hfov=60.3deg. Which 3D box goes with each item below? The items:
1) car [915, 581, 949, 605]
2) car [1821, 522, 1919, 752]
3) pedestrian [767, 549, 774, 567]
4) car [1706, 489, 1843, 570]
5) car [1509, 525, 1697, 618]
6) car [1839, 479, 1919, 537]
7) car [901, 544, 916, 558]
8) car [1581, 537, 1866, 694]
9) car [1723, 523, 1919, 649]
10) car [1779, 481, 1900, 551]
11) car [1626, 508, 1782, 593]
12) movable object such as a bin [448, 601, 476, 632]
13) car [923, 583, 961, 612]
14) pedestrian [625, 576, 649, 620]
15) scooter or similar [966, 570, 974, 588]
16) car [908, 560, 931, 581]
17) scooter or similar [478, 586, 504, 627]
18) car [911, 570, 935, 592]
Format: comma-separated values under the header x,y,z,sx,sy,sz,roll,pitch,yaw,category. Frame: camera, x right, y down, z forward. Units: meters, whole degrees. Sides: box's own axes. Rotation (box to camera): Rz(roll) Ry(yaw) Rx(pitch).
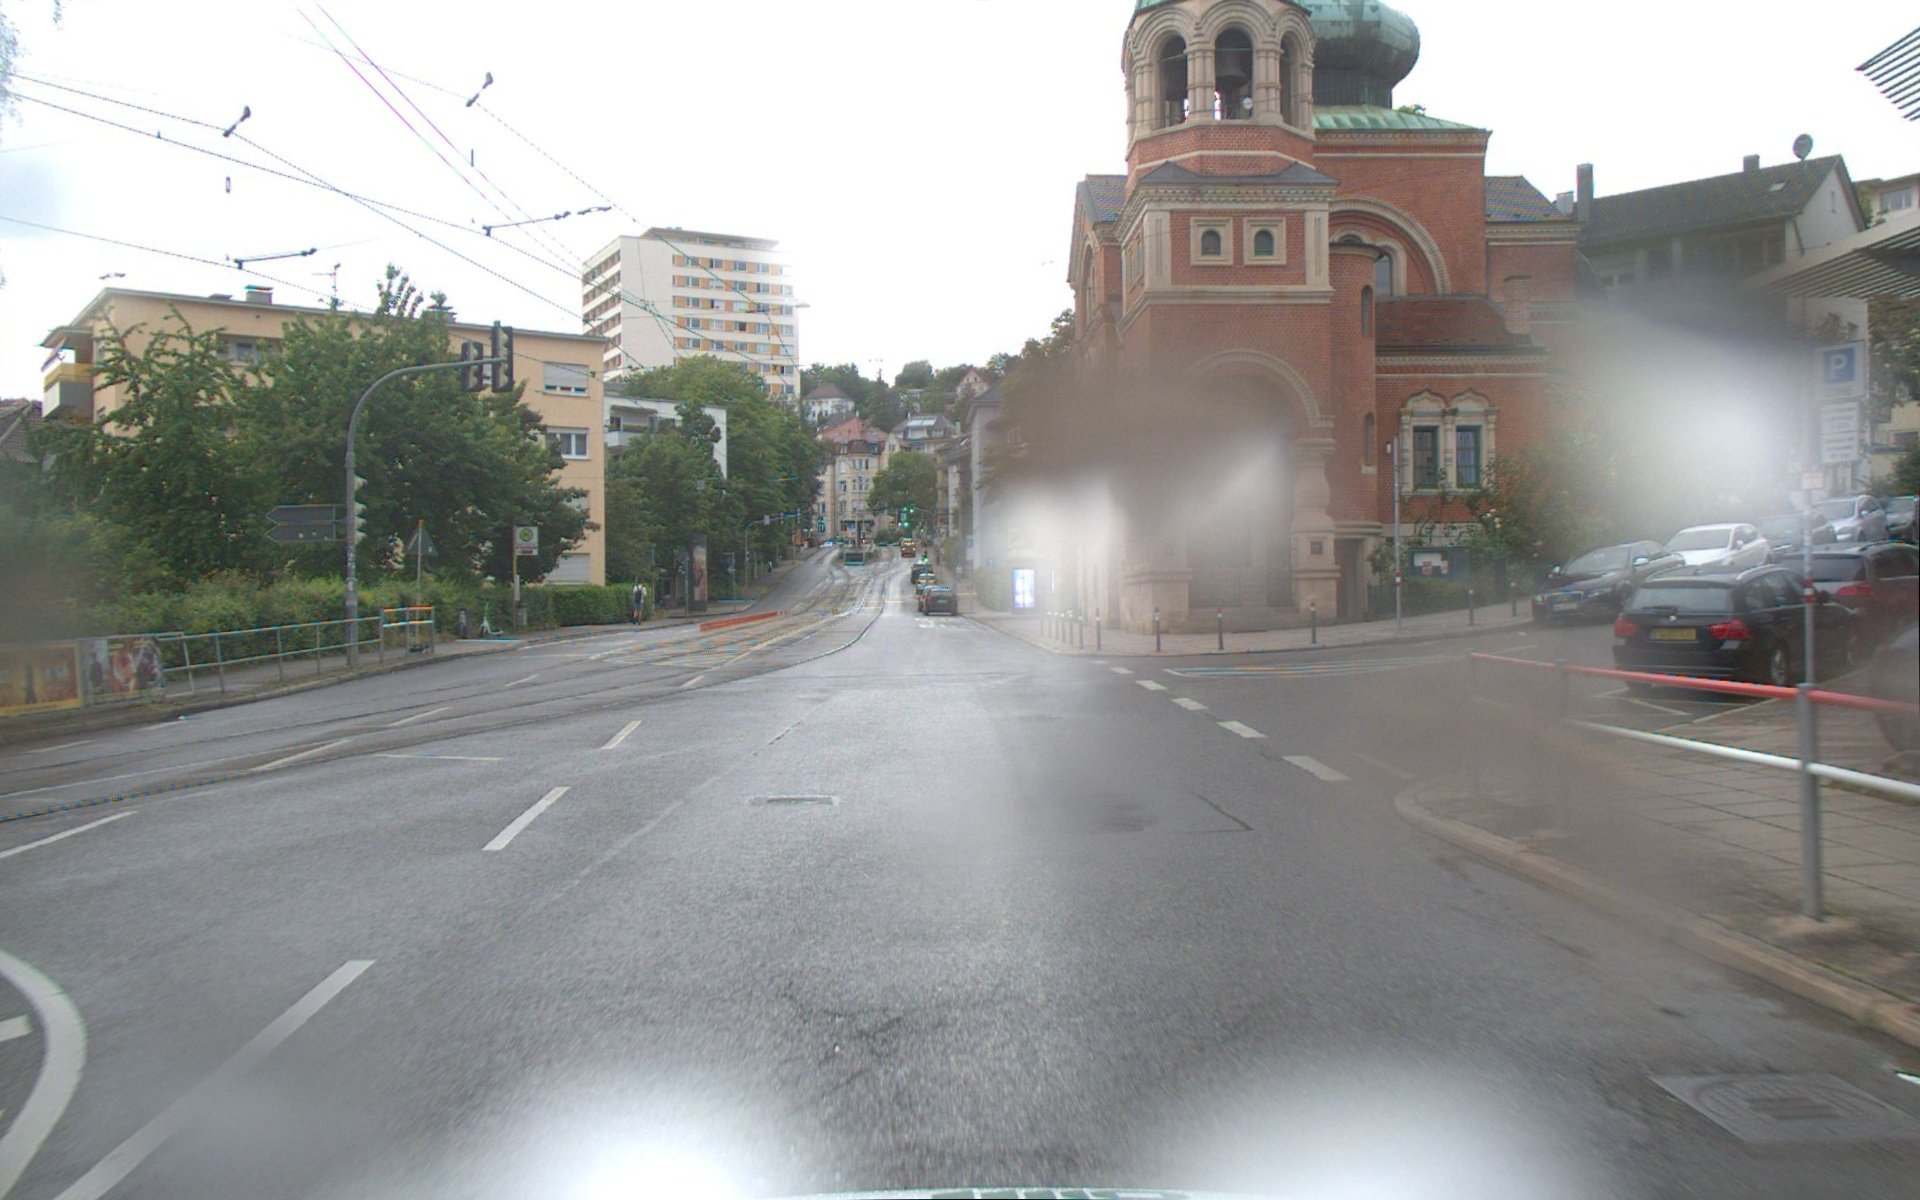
x,y,z,sx,sy,sz,roll,pitch,yaw,category
-1.740,-0.432,101.251,1.901,1.489,4.203,0,0,-4,car
7.288,0.166,9.849,1.816,1.529,4.447,-4,-1,-2,car
-18.147,-4.023,158.182,0.572,1.628,0.868,1,2,-6,pedestrian
19.945,-1.734,40.455,1.909,1.467,3.610,-7,2,44,car
12.958,-0.599,33.174,1.909,1.391,4.452,-4,2,43,car
27.644,-2.714,48.764,1.909,1.533,4.420,-2,1,43,car
-6.538,-6.229,209.746,1.766,1.674,3.998,0,1,-3,car
9.407,0.099,20.195,1.966,1.482,4.425,0,4,42,car
12.872,-0.256,23.818,4.418,1.482,1.969,-6,3,-44,car
23.801,-2.289,44.692,1.909,1.540,3.823,-2,5,43,car
16.584,-1.114,36.783,1.913,1.520,3.906,-4,3,43,car
-14.486,0.492,48.126,0.673,0.897,0.759,0,-1,-8,movable object such as a bin
-0.996,-0.146,89.756,1.821,1.513,4.642,0,0,-3,car
-13.844,-0.066,71.010,0.901,1.878,1.016,1,-1,-6,pedestrian
0.788,-1.615,126.979,0.563,1.270,1.612,0,5,3,scooter or similar
-3.521,-2.535,142.461,1.868,1.670,4.688,1,3,-3,car
-14.173,0.210,49.985,0.562,1.205,1.596,0,-1,-9,scooter or similar
-2.837,-1.468,126.207,1.670,1.458,4.100,1,3,-3,car
